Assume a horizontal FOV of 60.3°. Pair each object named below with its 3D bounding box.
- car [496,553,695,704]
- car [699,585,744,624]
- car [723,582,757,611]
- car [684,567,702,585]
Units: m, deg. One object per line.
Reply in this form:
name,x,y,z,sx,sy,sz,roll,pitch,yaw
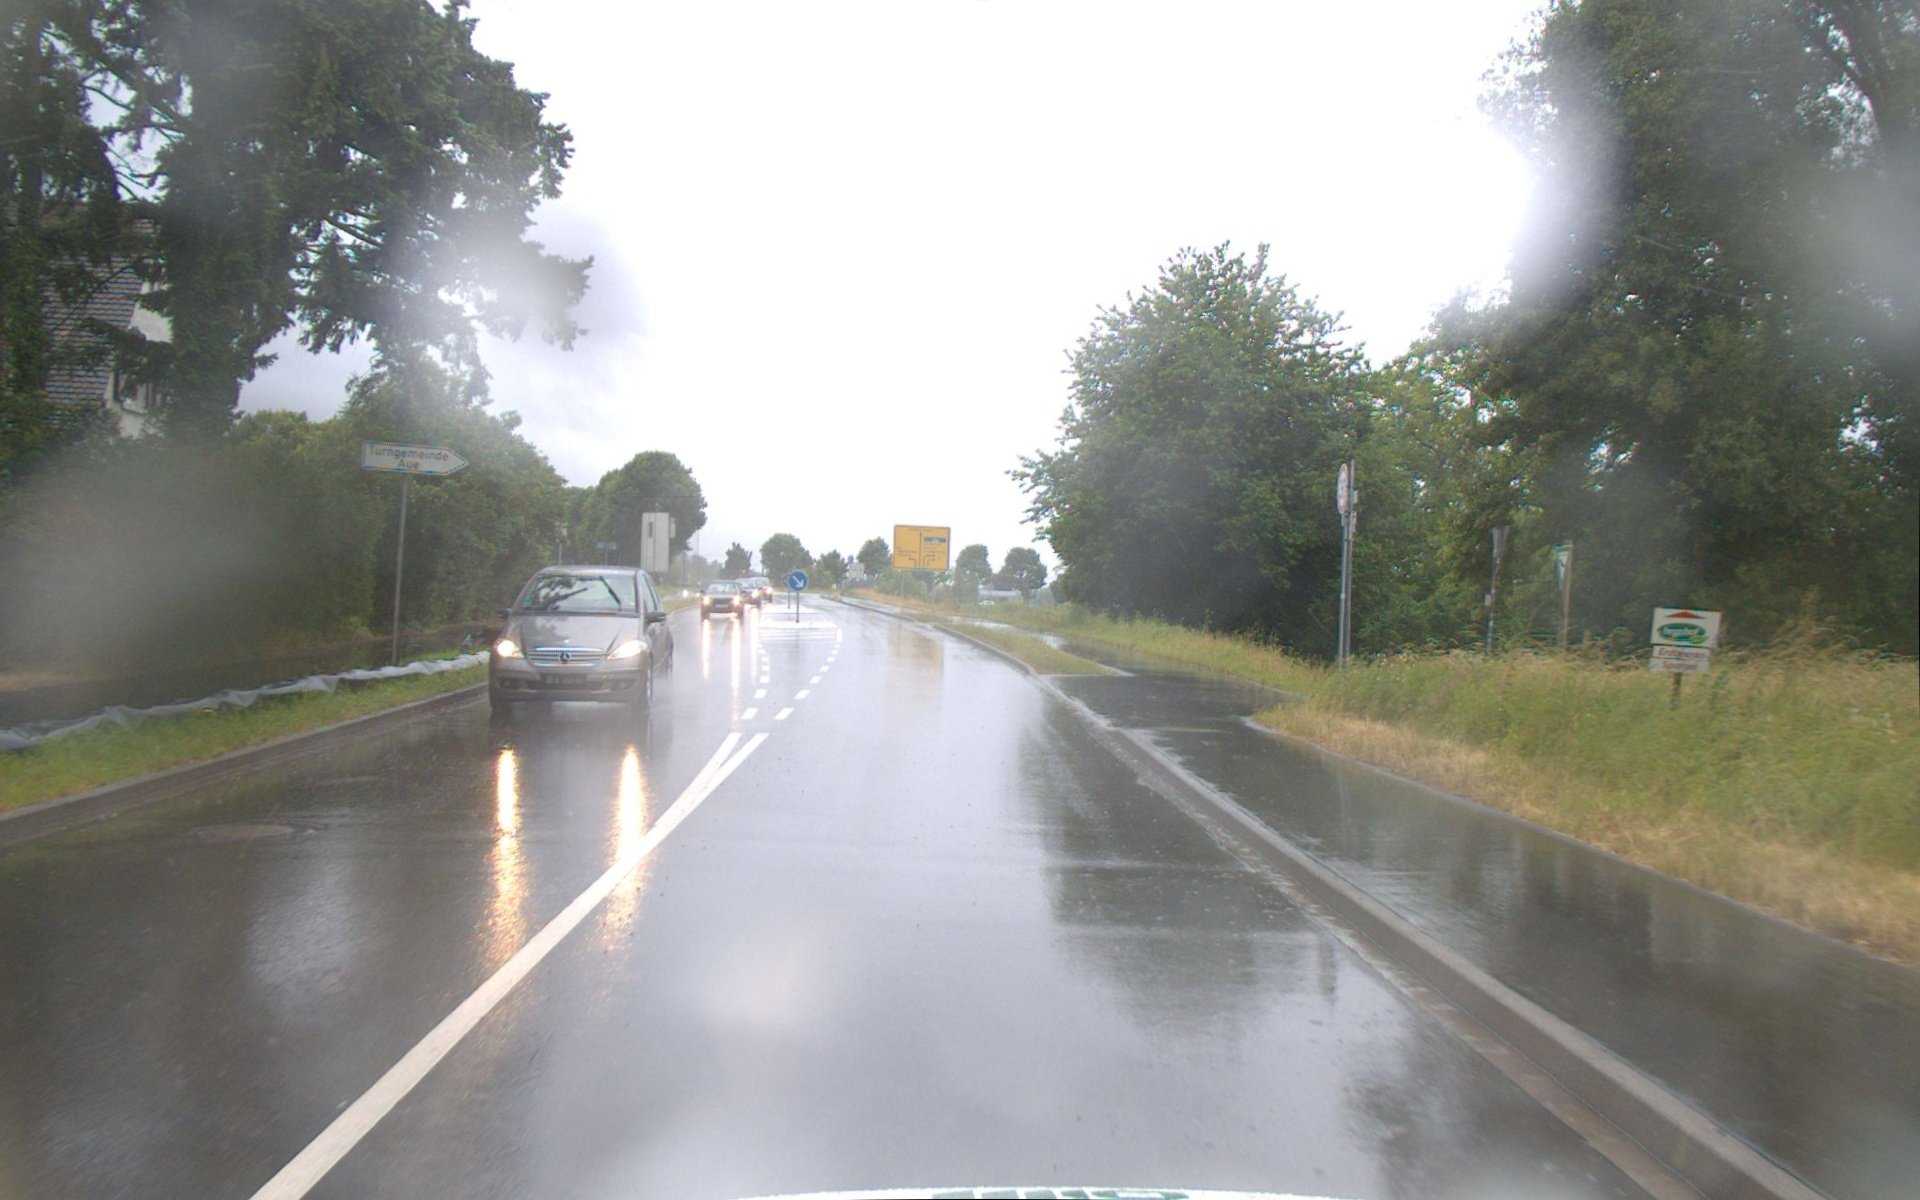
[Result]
car,-4.160,0.268,19.449,1.726,1.579,3.997,0,1,-4
car,-9.219,0.143,64.007,1.651,1.407,4.217,0,1,-8
car,-11.789,-0.189,88.374,1.709,1.471,3.675,0,1,-9
car,-32.136,-2.881,199.230,1.957,2.006,4.947,4,1,-9
